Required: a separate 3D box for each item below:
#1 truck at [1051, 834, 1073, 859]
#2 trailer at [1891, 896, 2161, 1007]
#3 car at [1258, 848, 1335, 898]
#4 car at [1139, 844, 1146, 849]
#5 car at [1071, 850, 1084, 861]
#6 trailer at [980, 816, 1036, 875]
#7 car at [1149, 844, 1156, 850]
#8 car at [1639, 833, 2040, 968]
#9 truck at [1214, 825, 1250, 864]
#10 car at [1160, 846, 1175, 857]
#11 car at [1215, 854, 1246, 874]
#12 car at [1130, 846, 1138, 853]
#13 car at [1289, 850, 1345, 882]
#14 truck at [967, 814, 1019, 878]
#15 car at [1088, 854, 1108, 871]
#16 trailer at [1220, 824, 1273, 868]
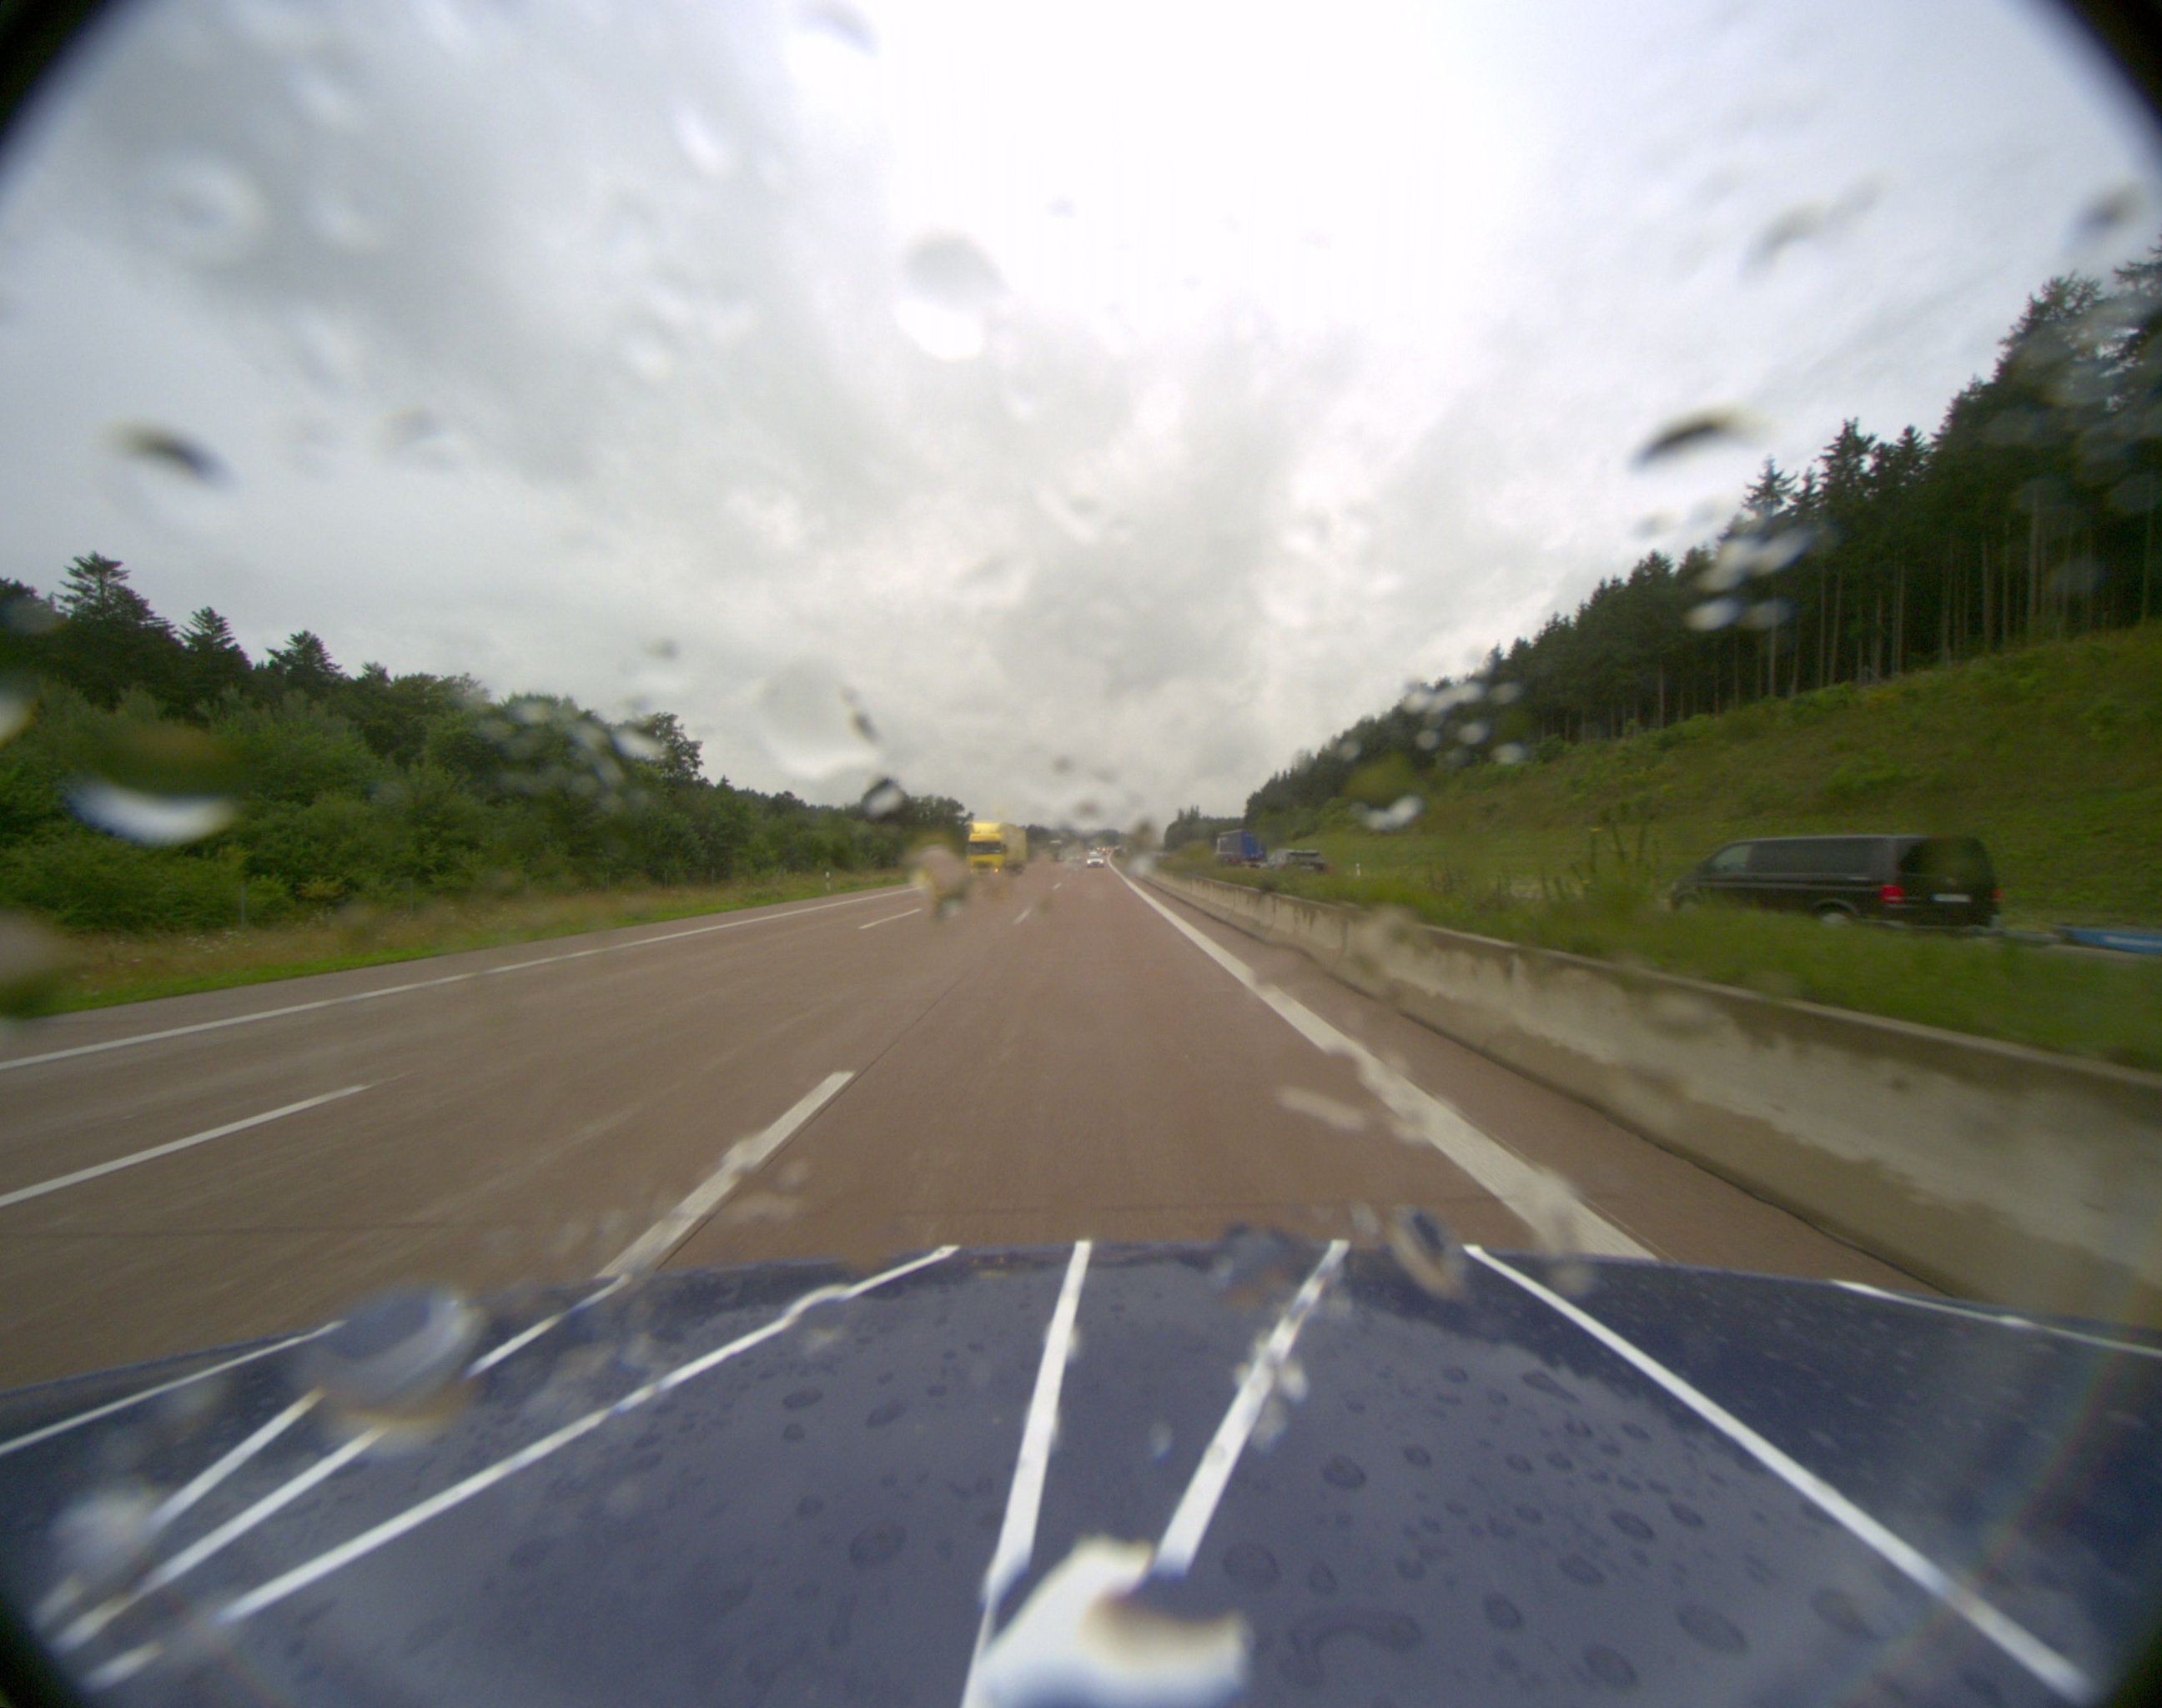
[{"bbox_3d":[-3.606,-1.542,146.162,3.190,4.349,14.703,-2,1,2],"label":"truck"},{"bbox_3d":[13.636,1.252,8.358,2.210,0.992,6.850,-2,1,1],"label":"trailer"},{"bbox_3d":[8.725,0.689,31.145,1.895,1.769,4.938,-2,1,2],"label":"car"},{"bbox_3d":[20.457,-2.550,253.749,1.998,1.710,4.259,-2,1,2],"label":"car"},{"bbox_3d":[-0.569,0.251,126.457,1.998,1.623,4.931,-2,1,2],"label":"car"},{"bbox_3d":[-5.767,-0.766,62.703,2.571,4.204,14.079,-2,1,2],"label":"trailer"},{"bbox_3d":[19.789,-1.926,210.199,1.818,1.713,4.951,0,1,2],"label":"car"},{"bbox_3d":[13.647,0.657,14.419,1.998,2.002,5.673,-2,1,1],"label":"car"},{"bbox_3d":[18.041,-1.115,91.316,2.931,4.364,7.403,-2,1,1],"label":"truck"},{"bbox_3d":[15.737,-0.487,138.844,2.053,1.683,6.383,-2,1,2],"label":"car"},{"bbox_3d":[13.793,0.921,70.387,1.998,1.756,5.095,-1,0,2],"label":"car"},{"bbox_3d":[14.699,-1.252,211.682,2.053,1.766,5.324,-2,1,2],"label":"car"},{"bbox_3d":[12.751,0.621,41.285,1.730,1.520,4.116,-2,1,1],"label":"car"},{"bbox_3d":[-6.096,-0.587,53.682,2.610,4.190,6.249,-2,1,2],"label":"truck"},{"bbox_3d":[1.854,0.881,82.249,1.998,1.623,4.931,-2,1,2],"label":"car"},{"bbox_3d":[17.819,-0.963,82.887,2.926,4.315,13.578,-2,1,1],"label":"trailer"}]
